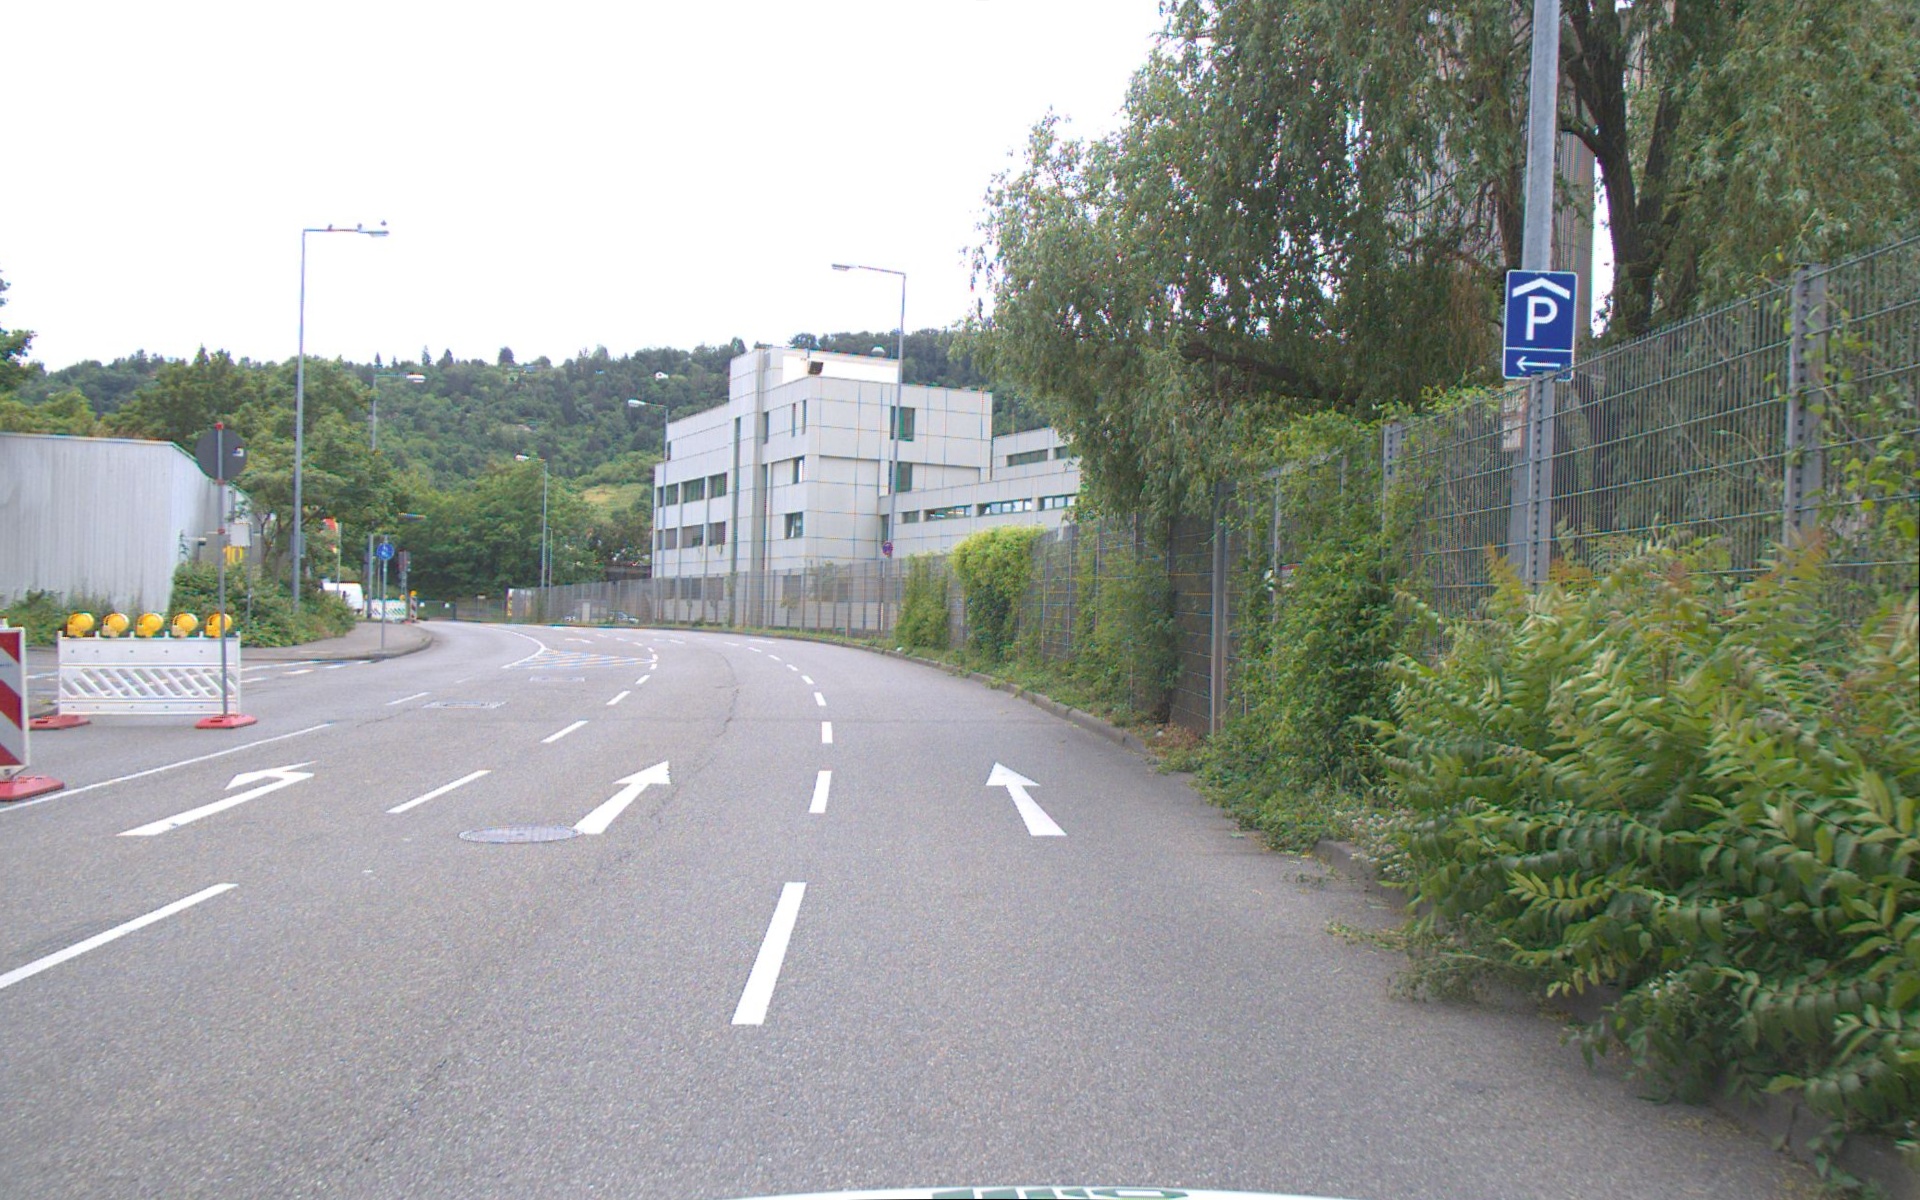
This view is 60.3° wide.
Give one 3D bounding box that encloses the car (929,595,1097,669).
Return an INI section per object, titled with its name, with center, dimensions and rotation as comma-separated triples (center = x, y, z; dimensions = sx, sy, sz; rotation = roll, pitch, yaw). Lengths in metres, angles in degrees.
[car]
center = 1.761, 1.056, 56.951
dimensions = 1.985, 2.302, 6.070
rotation = 4, -2, -44

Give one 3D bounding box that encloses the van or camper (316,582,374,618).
[van or camper]
center = -45.805, 0.014, 123.274
dimensions = 1.968, 2.367, 6.649
rotation = 1, -3, -2
